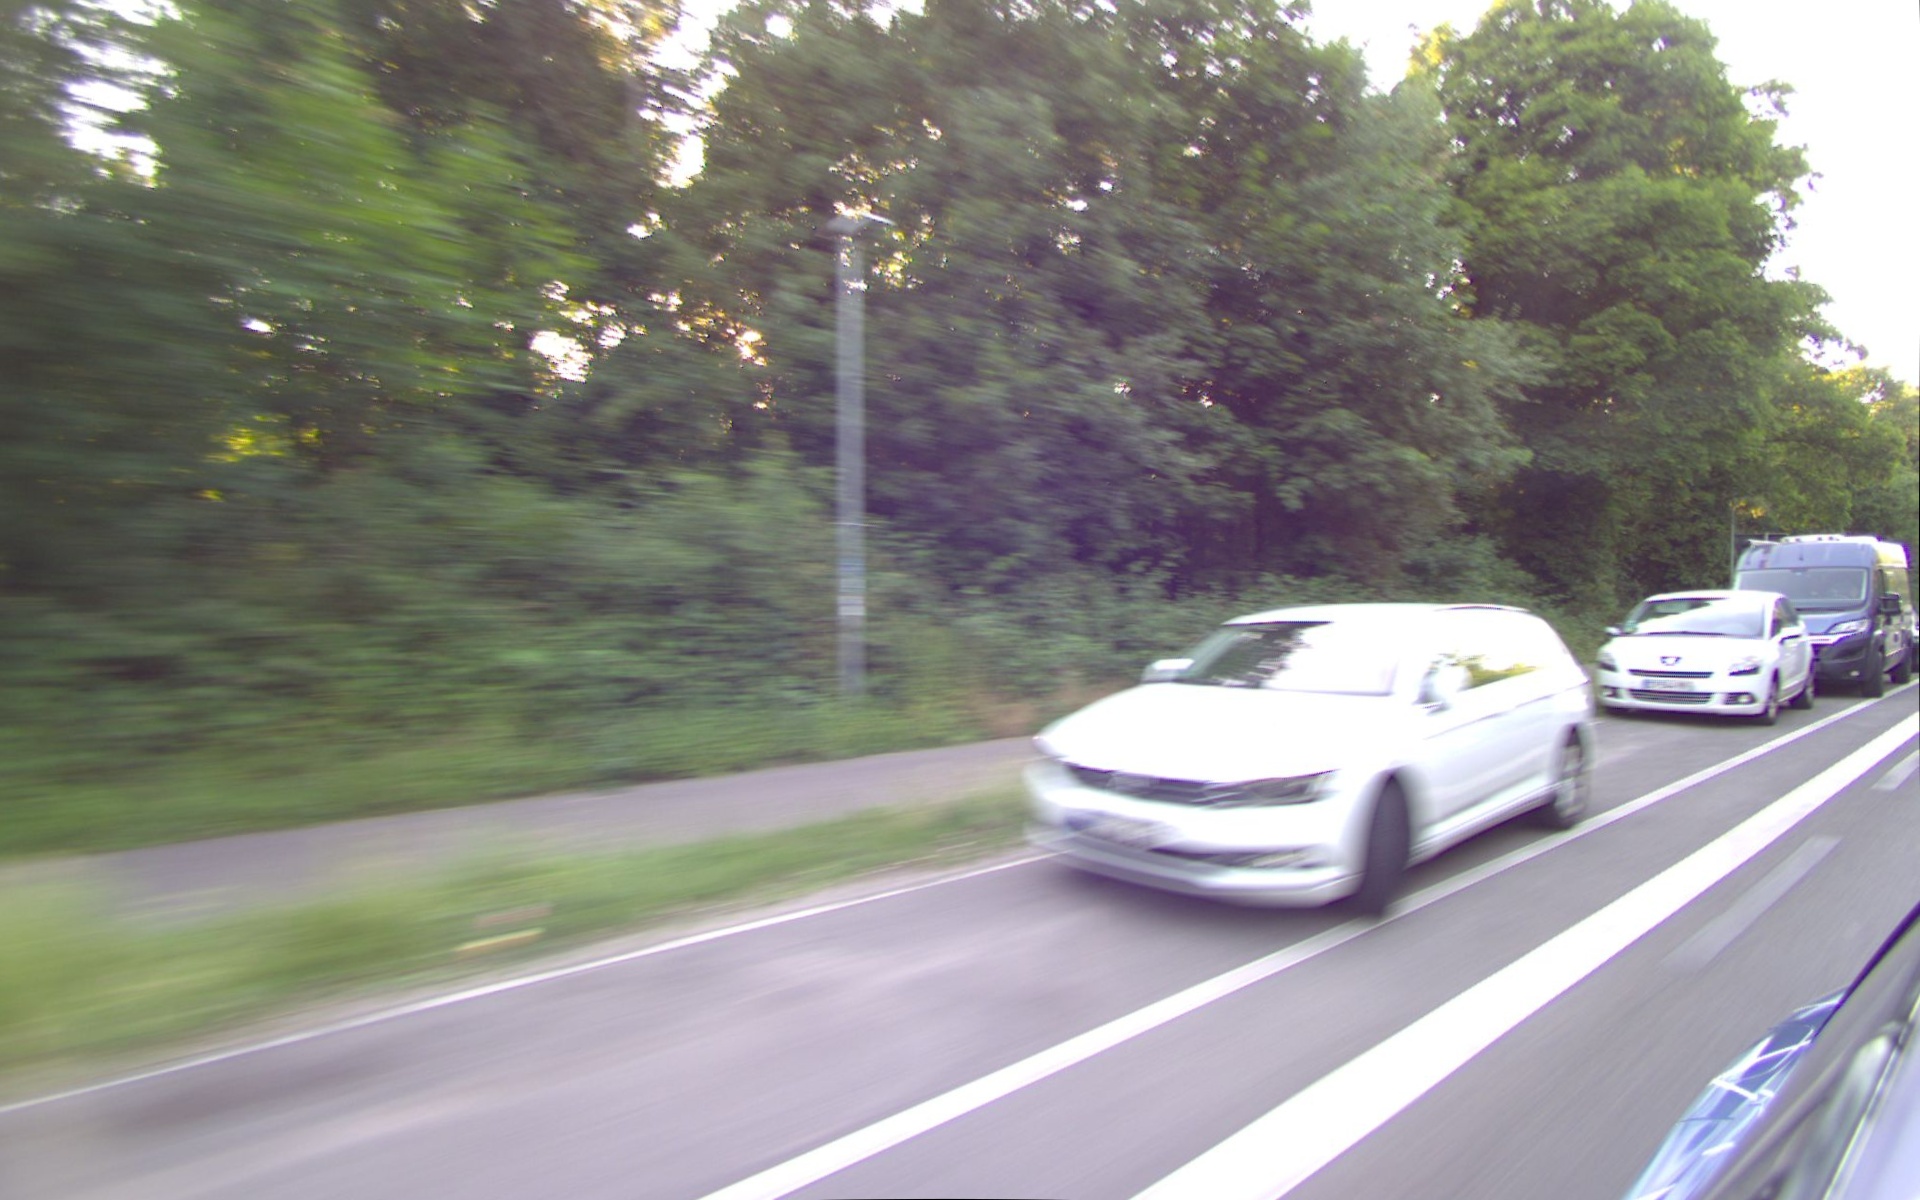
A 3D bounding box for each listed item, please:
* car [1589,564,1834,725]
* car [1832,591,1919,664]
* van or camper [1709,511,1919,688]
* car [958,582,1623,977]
[{"bbox_3d":[10.148,0.486,13.511,4.645,1.787,1.853,0,0,-43],"label":"car"},{"bbox_3d":[20.813,0.554,22.520,4.456,1.495,1.605,0,0,-42],"label":"car"},{"bbox_3d":[15.004,0.007,17.504,5.955,2.573,2.130,1,-1,-42],"label":"van or camper"},{"bbox_3d":[2.316,0.682,6.165,4.679,1.512,1.845,0,0,-43],"label":"car"}]
